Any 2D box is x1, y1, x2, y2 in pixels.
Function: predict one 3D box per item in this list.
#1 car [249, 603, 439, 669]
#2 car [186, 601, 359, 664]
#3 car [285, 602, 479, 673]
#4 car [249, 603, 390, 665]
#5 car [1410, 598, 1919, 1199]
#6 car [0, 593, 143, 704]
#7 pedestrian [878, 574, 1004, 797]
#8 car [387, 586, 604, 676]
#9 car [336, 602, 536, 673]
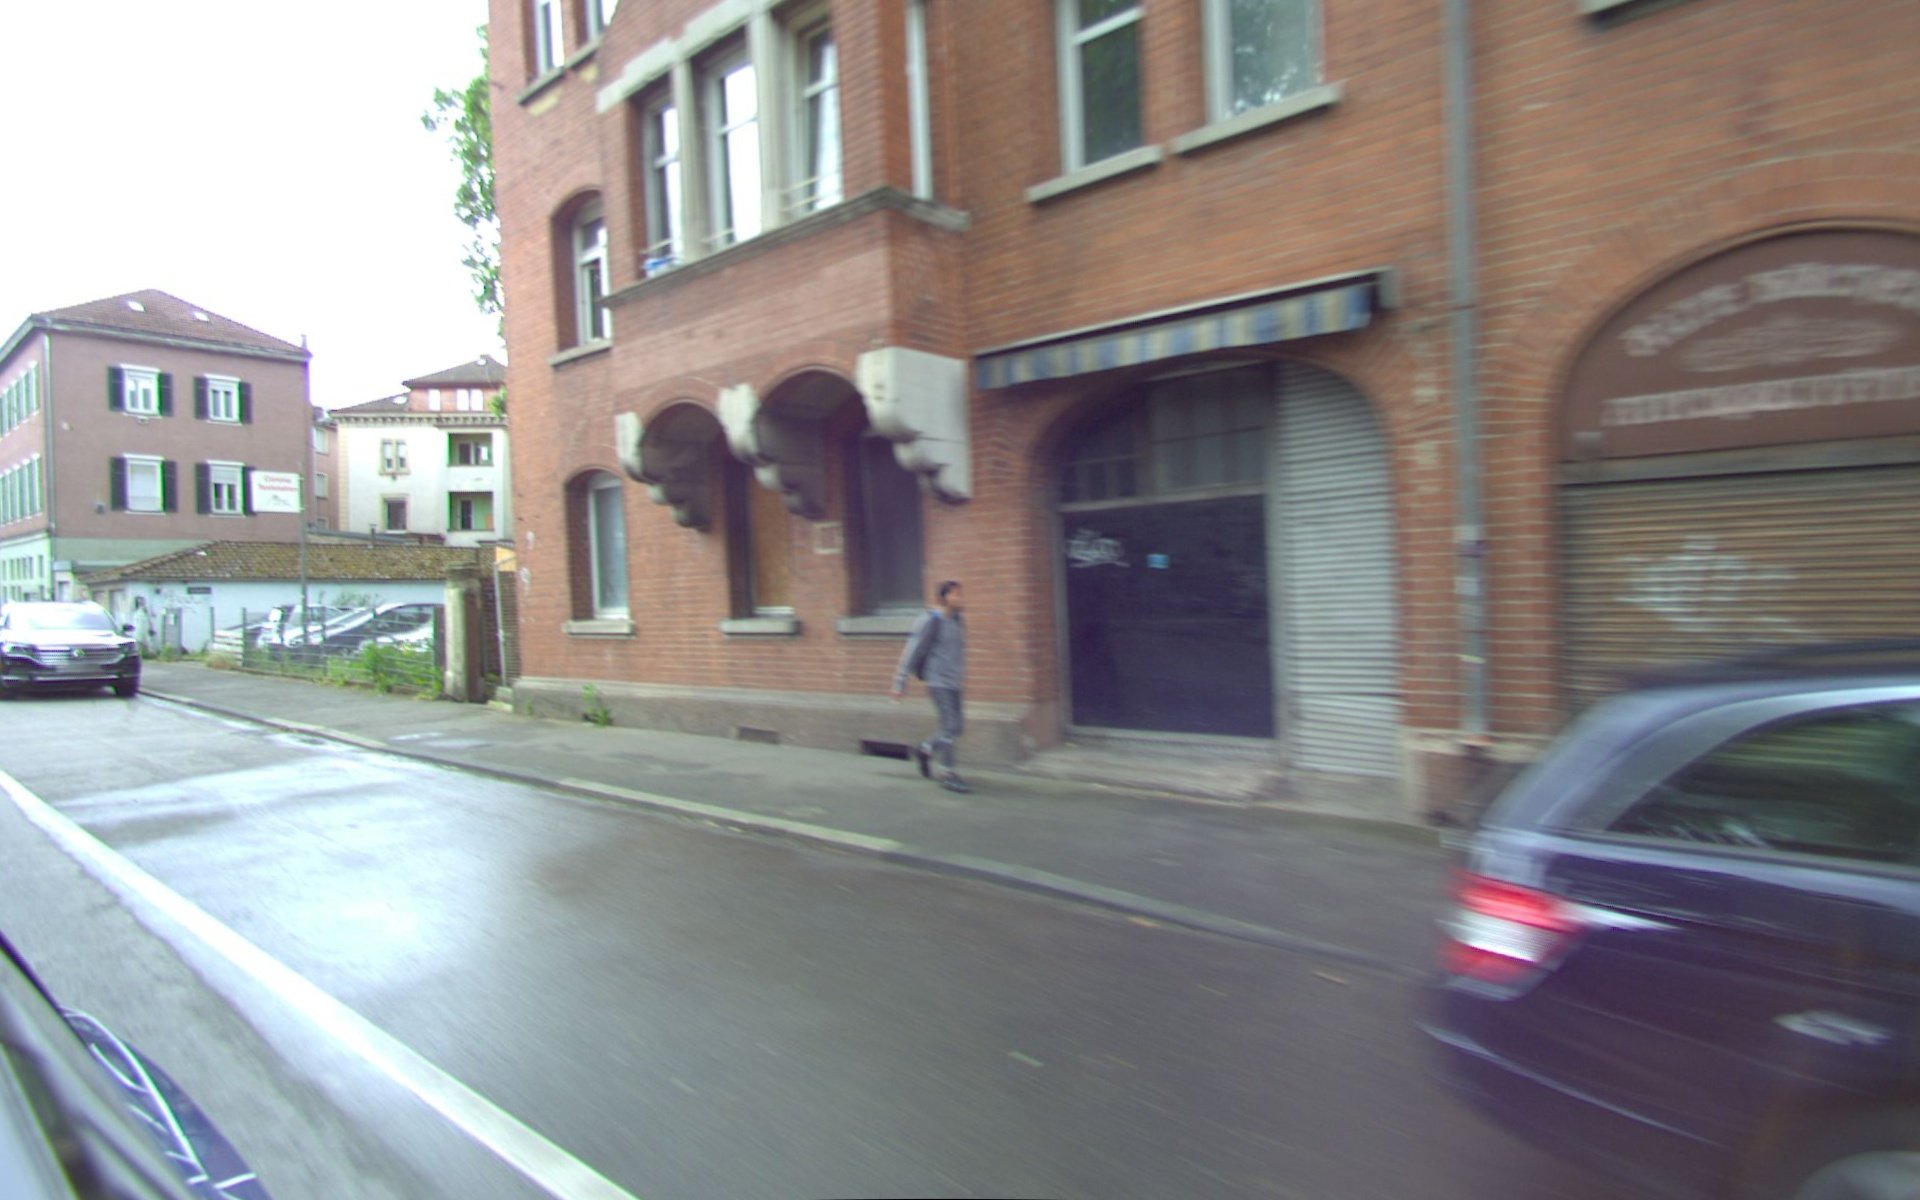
[{"bbox_3d":[-15.395,0.870,25.407,1.852,1.516,3.685,-1,-1,40],"label":"car"},{"bbox_3d":[-19.444,0.891,28.718,1.852,1.655,3.724,-1,-1,40],"label":"car"},{"bbox_3d":[-13.477,0.841,23.731,1.852,1.516,3.559,-1,-1,40],"label":"car"},{"bbox_3d":[-17.312,0.881,27.393,1.852,1.577,2.818,-1,-1,40],"label":"car"},{"bbox_3d":[3.241,0.703,1.447,4.388,1.497,1.707,-4,-1,42],"label":"car"},{"bbox_3d":[-16.699,0.832,18.451,4.770,1.747,1.934,-2,0,40],"label":"car"},{"bbox_3d":[-0.145,0.634,7.904,0.632,1.621,0.653,-2,1,41],"label":"pedestrian"},{"bbox_3d":[-9.181,0.589,20.198,1.687,1.624,3.559,-1,-1,40],"label":"car"},{"bbox_3d":[-11.375,0.786,22.134,1.546,1.425,3.559,-1,-1,40],"label":"car"}]
